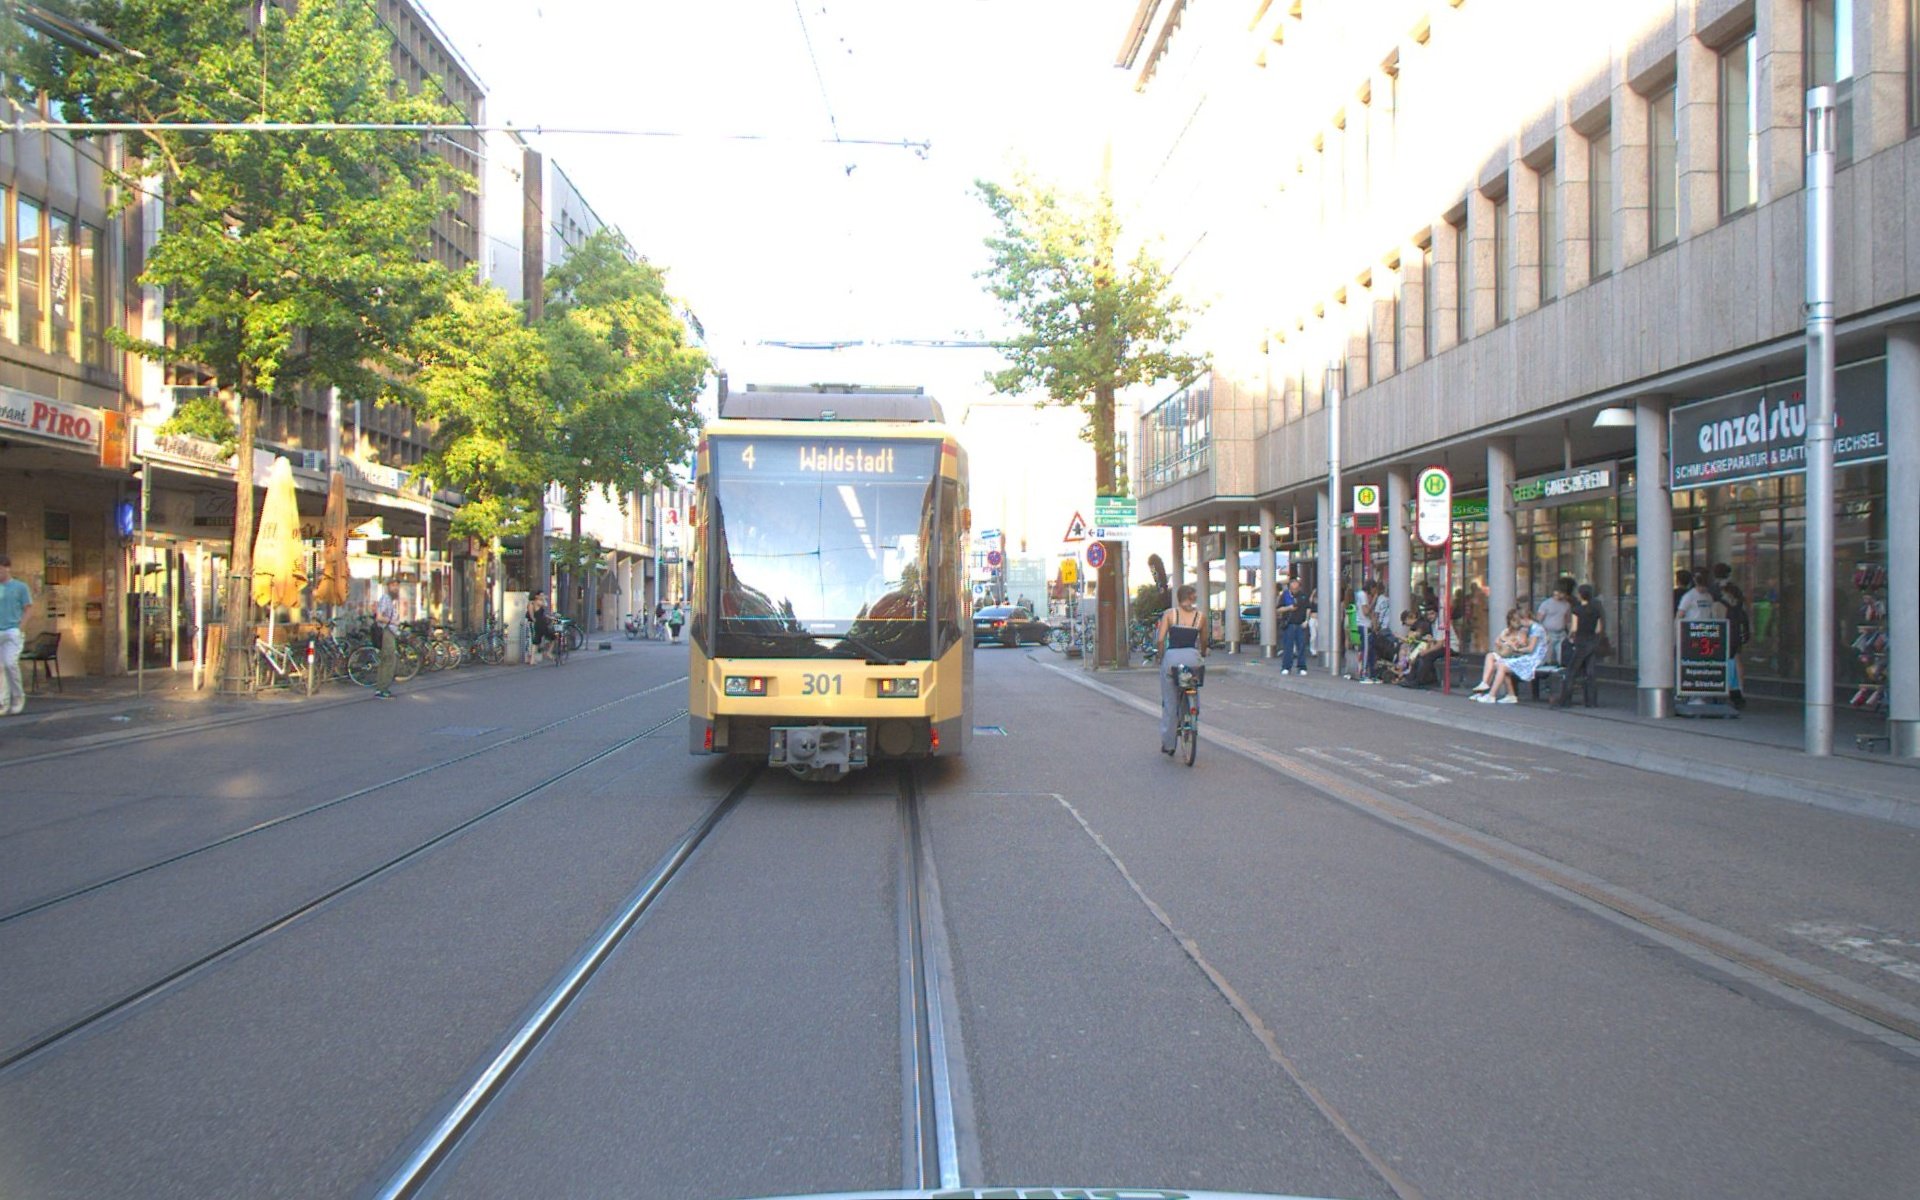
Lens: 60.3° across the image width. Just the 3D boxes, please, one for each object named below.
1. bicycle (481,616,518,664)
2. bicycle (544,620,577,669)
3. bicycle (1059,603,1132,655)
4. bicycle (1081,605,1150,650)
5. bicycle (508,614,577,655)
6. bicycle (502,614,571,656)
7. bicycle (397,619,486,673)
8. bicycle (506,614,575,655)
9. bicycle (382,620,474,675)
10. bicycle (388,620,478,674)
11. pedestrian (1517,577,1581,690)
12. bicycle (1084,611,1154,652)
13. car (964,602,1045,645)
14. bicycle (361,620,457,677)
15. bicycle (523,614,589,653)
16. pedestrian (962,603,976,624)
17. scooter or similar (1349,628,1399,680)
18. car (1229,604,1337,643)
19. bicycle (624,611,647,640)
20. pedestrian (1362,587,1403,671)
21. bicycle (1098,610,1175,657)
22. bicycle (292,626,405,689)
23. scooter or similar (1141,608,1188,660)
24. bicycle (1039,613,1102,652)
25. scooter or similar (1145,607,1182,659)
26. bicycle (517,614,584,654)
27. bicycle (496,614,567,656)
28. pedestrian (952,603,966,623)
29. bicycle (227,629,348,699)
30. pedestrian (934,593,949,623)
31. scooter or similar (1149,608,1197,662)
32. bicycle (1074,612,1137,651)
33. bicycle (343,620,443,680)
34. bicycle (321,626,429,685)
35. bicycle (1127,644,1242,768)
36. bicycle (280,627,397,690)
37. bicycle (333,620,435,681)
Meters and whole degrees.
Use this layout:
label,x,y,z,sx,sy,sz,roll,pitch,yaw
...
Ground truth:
label,x,y,z,sx,sy,sz,roll,pitch,yaw
bicycle,-10.588,0.911,38.087,0.478,1.063,1.776,0,0,-5
bicycle,-9.254,1.011,38.330,0.478,1.063,1.776,0,0,-5
bicycle,3.779,0.806,46.292,1.879,1.356,0.724,-2,0,-7
bicycle,4.610,0.821,49.121,1.879,1.244,0.762,-2,0,-7
bicycle,-11.505,0.949,45.593,1.736,1.063,0.489,1,0,-2
bicycle,-11.456,0.943,44.774,1.736,1.063,0.489,1,0,-2
bicycle,-11.178,0.994,35.713,1.738,1.090,0.488,2,0,-8
bicycle,-11.499,0.947,45.351,1.736,1.063,0.489,1,0,-2
bicycle,-11.091,0.985,34.518,1.738,1.090,0.488,2,0,-8
bicycle,-11.164,0.989,35.060,1.738,1.090,0.488,2,0,-8
pedestrian,9.043,0.509,25.414,0.673,1.690,0.722,-1,-1,-1
bicycle,4.635,0.927,48.375,1.879,1.096,0.762,-2,0,-7
car,1.589,0.831,57.687,1.732,1.434,4.054,0,-1,18
bicycle,-11.080,0.976,33.298,1.738,1.090,0.488,2,0,-8
bicycle,-11.527,0.962,47.234,1.736,1.063,0.489,1,0,-2
pedestrian,0.547,0.839,103.257,0.777,1.243,0.768,0,0,-6
scooter or similar,7.381,0.955,29.515,0.815,0.899,0.687,1,-1,12
car,12.156,0.886,62.444,3.807,1.434,1.776,0,-1,4
bicycle,-13.428,1.037,68.417,0.488,1.127,1.801,0,1,3
pedestrian,8.652,0.584,33.870,0.635,1.690,0.650,-1,0,-2
bicycle,4.812,0.901,45.155,1.958,1.175,0.724,-2,0,-7
bicycle,-10.449,0.982,28.295,1.738,1.007,0.489,1,1,-8
scooter or similar,5.181,0.852,41.840,1.176,1.273,0.389,-2,0,-32
bicycle,3.377,0.984,50.514,1.816,1.128,0.666,-2,0,-5
scooter or similar,5.223,0.844,42.431,0.385,1.273,1.187,-1,1,36
bicycle,-11.542,0.957,46.653,1.736,1.063,0.489,1,0,-2
bicycle,-11.438,0.939,44.203,1.736,1.063,0.489,1,0,-2
pedestrian,-0.073,0.840,104.035,0.777,1.243,0.768,0,0,-6
bicycle,-10.251,0.964,25.218,1.734,0.983,0.490,2,-1,15
pedestrian,-1.131,0.480,100.148,0.722,1.855,0.816,0,0,-17
scooter or similar,5.279,0.862,41.043,1.102,1.273,0.491,-2,0,-33
bicycle,4.444,0.951,50.650,1.816,1.128,0.666,-2,0,-5
bicycle,-10.987,0.967,32.061,1.738,1.090,0.488,2,0,-8
bicycle,-10.492,0.992,29.706,1.738,1.007,0.489,1,1,-8
bicycle,2.231,1.030,16.689,0.798,1.092,2.113,1,0,-1
bicycle,-10.422,0.978,27.768,1.738,1.007,0.489,1,1,-8
bicycle,-10.947,0.963,31.484,1.738,1.090,0.488,2,0,-8
